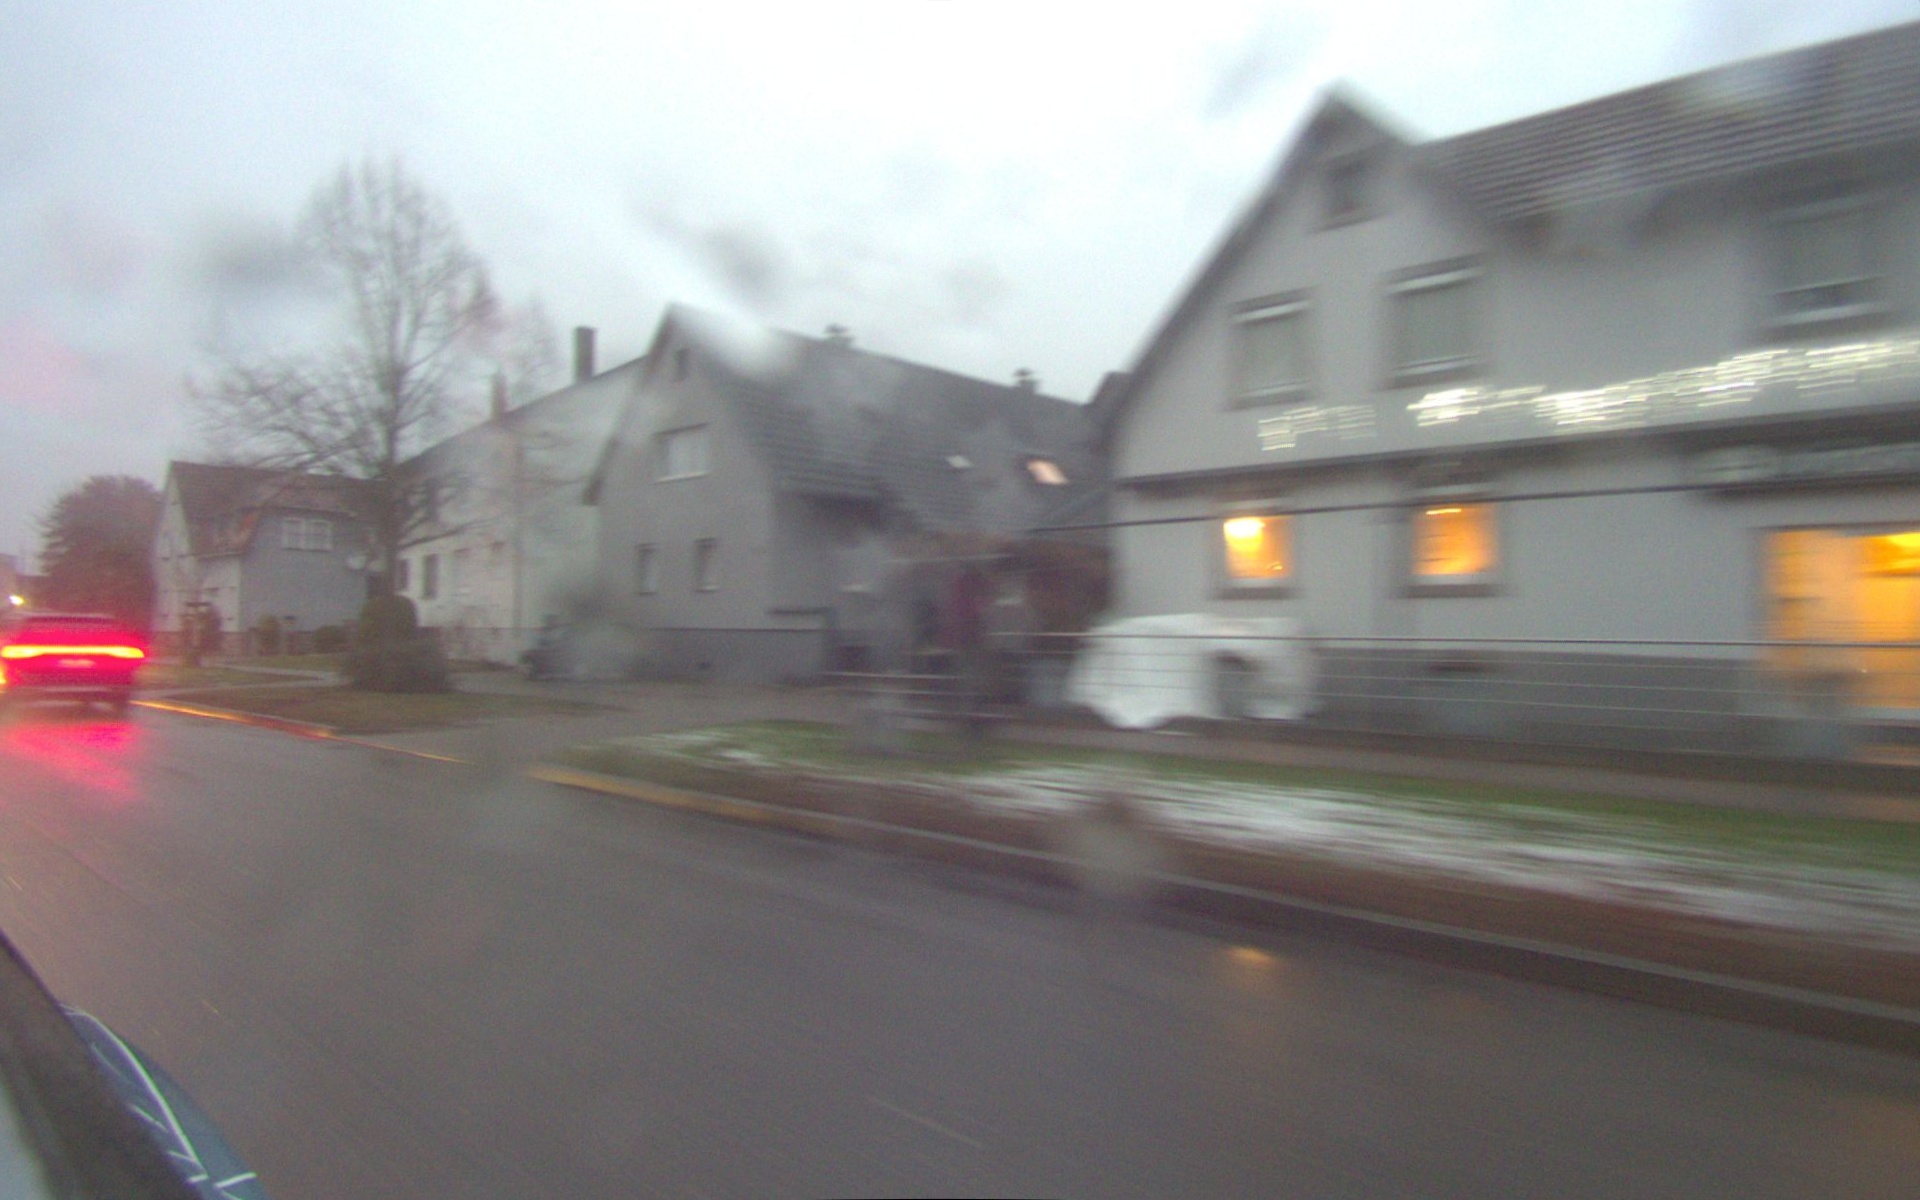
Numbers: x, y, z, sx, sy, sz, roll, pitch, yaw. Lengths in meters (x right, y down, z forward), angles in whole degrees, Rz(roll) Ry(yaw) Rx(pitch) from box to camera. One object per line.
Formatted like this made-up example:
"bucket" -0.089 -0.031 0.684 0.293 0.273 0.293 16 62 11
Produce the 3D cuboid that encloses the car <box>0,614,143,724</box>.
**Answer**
"car" -15.500 1.110 17.136 4.221 1.645 1.795 -2 -3 40

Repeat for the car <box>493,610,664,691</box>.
"car" -9.238 1.159 24.322 4.567 1.769 1.972 -1 -2 42

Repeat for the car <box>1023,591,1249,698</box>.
"car" 3.472 0.823 19.459 4.497 1.813 1.914 2 -2 -42
